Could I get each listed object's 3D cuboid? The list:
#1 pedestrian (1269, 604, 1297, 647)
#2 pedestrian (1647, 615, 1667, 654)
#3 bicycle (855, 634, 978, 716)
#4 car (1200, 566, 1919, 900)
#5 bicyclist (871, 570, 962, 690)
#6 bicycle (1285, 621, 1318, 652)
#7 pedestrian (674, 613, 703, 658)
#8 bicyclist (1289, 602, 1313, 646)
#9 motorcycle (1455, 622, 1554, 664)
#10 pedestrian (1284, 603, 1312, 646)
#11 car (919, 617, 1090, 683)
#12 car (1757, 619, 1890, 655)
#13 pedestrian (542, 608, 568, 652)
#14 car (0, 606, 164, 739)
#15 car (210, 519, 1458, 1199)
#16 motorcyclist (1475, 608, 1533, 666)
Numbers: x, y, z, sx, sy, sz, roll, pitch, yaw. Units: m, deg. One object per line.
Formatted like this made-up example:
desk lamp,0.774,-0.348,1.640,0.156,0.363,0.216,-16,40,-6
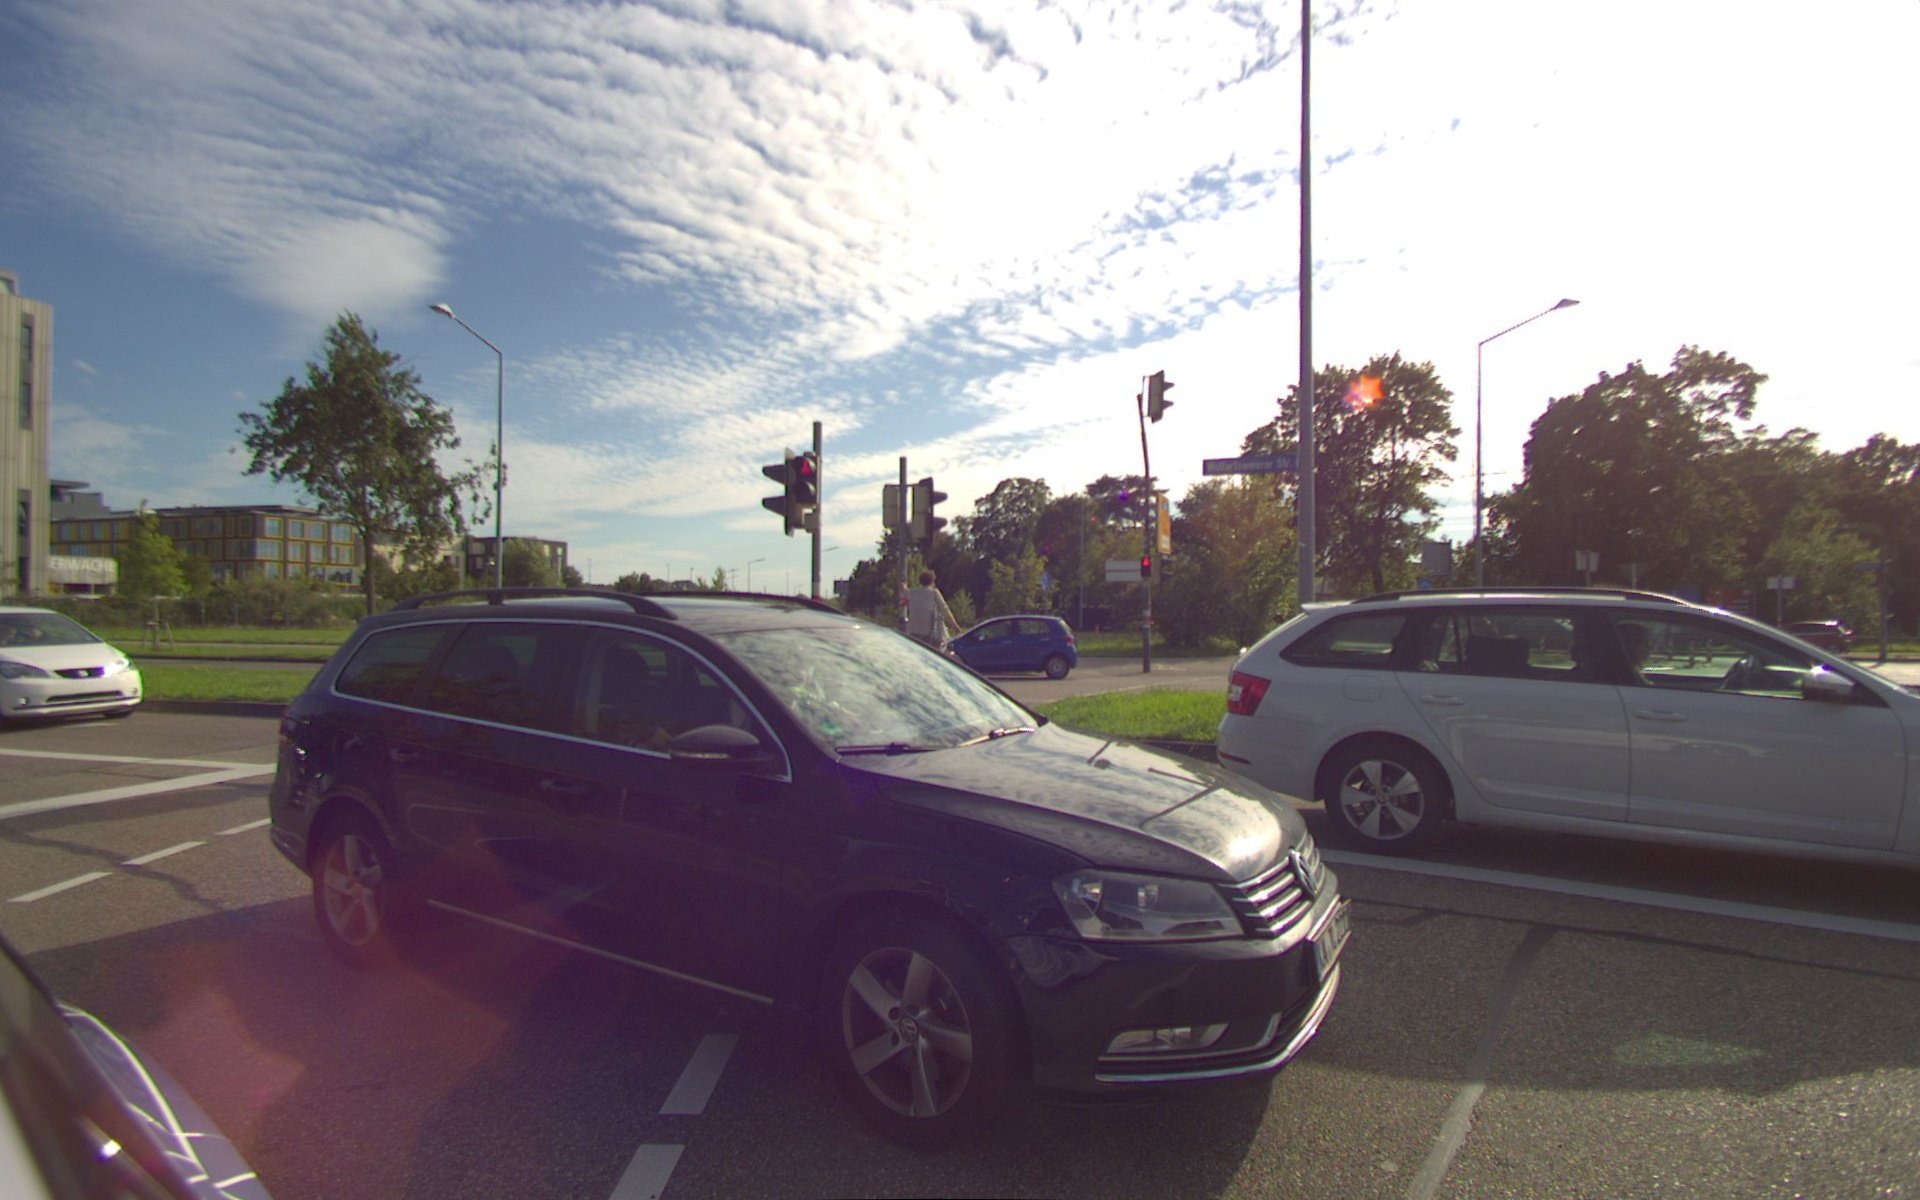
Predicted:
pedestrian,14.899,1.146,46.689,0.851,1.930,0.900,-1,1,-18
pedestrian,29.533,1.438,42.900,0.539,1.637,0.507,1,-1,-33
bicycle,-0.551,0.987,13.930,0.995,1.015,1.947,0,-1,22
car,3.883,0.578,5.678,4.621,1.456,1.837,0,0,31
bicyclist,-0.588,0.403,13.878,0.991,1.567,0.859,0,-1,22
bicycle,11.361,1.200,33.658,0.609,0.996,1.817,-1,-1,33
pedestrian,-9.385,1.217,34.948,0.749,1.519,0.626,0,2,12
bicyclist,11.413,0.792,33.875,0.609,1.456,0.690,-1,-1,33
motorcycle,13.126,1.030,24.425,1.993,0.994,0.785,0,-1,-5
pedestrian,15.703,1.132,46.977,0.851,1.930,0.900,-1,1,-18
car,1.059,1.195,24.316,3.942,1.513,1.781,0,-3,4
car,35.820,1.498,42.043,1.742,1.431,4.005,1,-1,-42
pedestrian,-15.179,1.115,37.969,0.653,1.642,0.624,-1,0,20
car,-12.178,0.817,12.686,3.629,1.475,1.757,0,0,18
car,-0.714,0.615,4.115,4.825,1.578,1.980,0,1,30
motorcyclist,13.118,0.893,24.416,0.929,1.376,0.785,0,-1,-5
